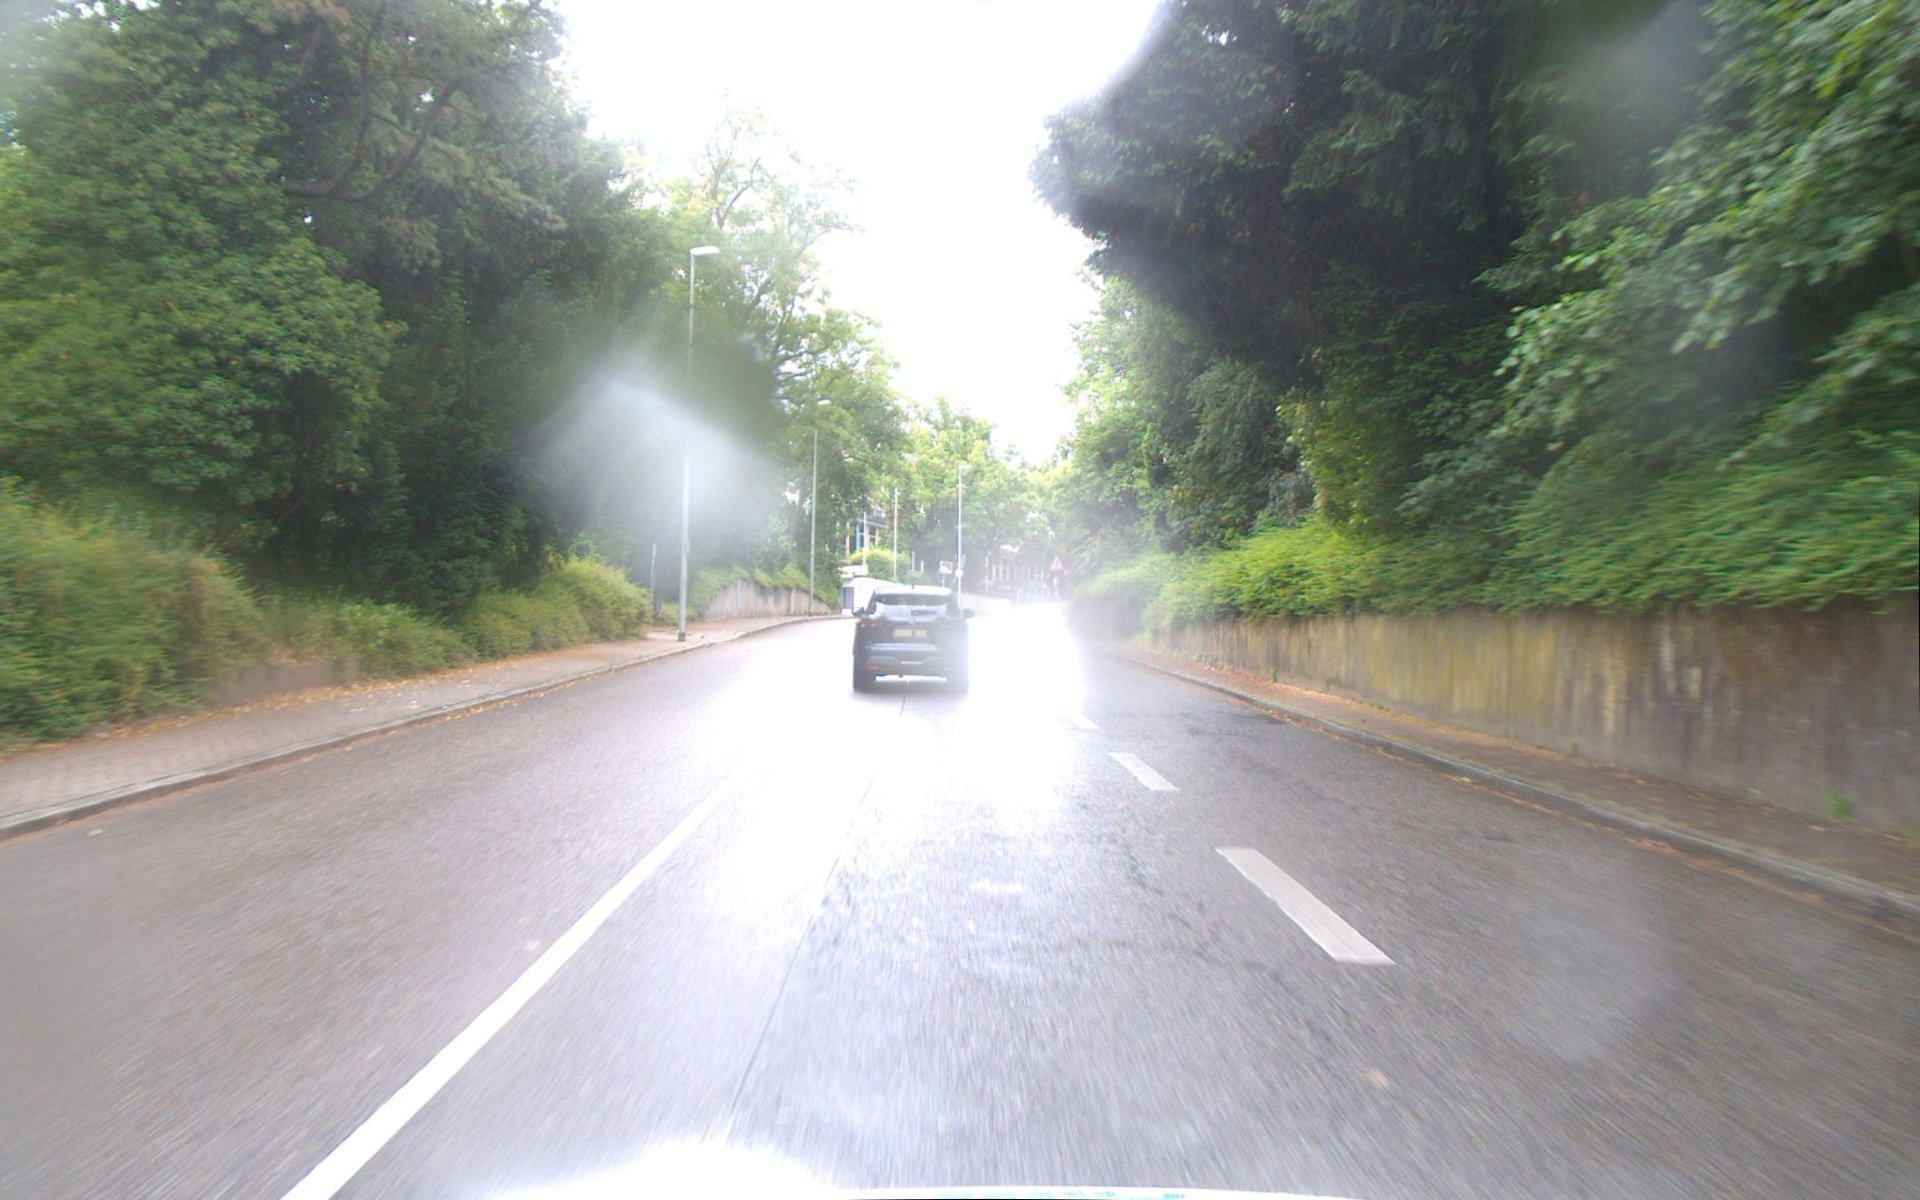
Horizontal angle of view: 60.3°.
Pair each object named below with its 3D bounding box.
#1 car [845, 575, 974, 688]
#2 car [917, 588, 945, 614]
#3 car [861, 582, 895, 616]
[{"bbox_3d":[-0.783,0.453,26.507,1.889,1.641,3.999,1,0,-1],"label":"car"},{"bbox_3d":[-1.734,0.056,99.344,1.641,1.522,3.459,1,0,-2],"label":"car"},{"bbox_3d":[-4.436,-0.074,89.799,1.794,1.741,3.998,1,0,-3],"label":"car"}]
